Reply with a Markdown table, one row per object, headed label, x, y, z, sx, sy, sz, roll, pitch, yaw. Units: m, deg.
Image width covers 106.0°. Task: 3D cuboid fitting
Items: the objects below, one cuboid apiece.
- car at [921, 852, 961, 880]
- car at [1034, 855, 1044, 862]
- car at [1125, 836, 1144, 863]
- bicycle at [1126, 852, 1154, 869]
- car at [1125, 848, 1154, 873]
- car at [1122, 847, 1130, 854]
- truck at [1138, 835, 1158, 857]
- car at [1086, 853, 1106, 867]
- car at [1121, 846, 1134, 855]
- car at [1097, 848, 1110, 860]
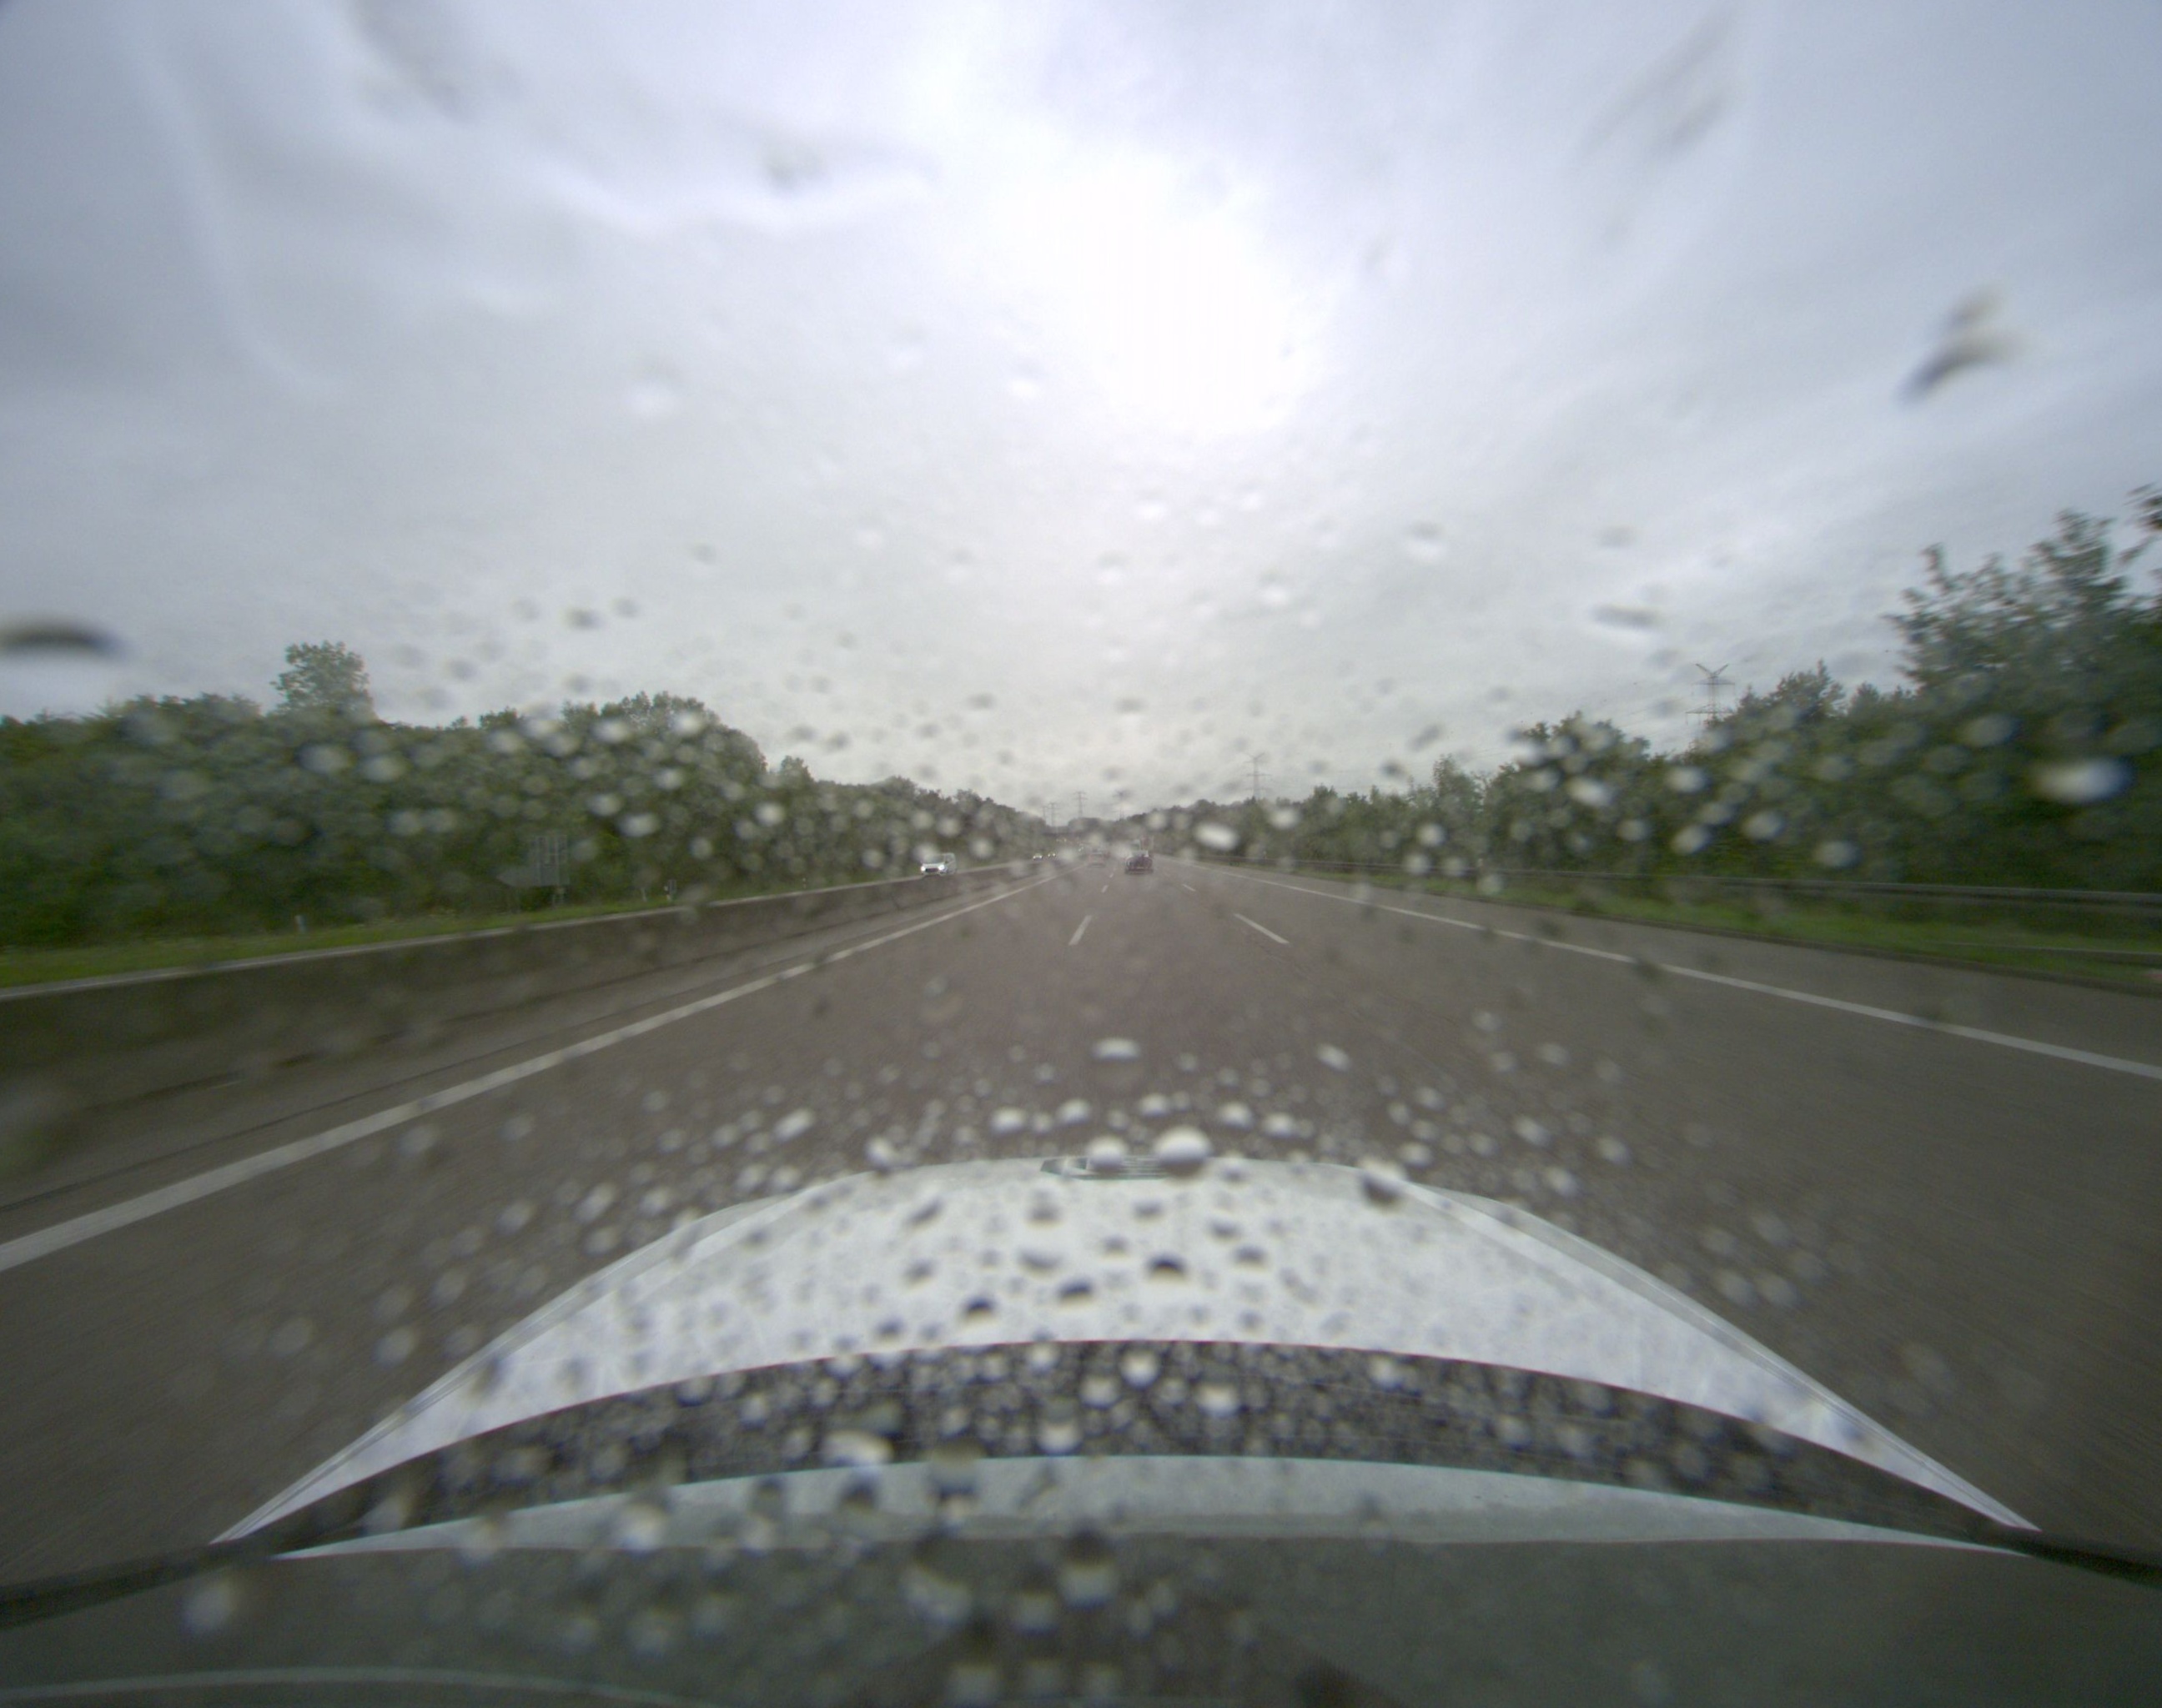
| label | x | y | z | sx | sy | sz | roll | pitch | yaw |
| --- | --- | --- | --- | --- | --- | --- | --- | --- | --- |
| car | -10.989 | 0.944 | 64.276 | 1.986 | 2.013 | 5.763 | -3 | 0 | 1 |
| car | -9.256 | 0.981 | 180.786 | 1.791 | 1.450 | 4.631 | -3 | 0 | 2 |
| car | 6.134 | -0.493 | 93.821 | 1.985 | 2.864 | 4.003 | -3 | 0 | 3 |
| bicycle | 3.871 | 0.409 | 53.513 | 1.747 | 1.090 | 0.914 | -1 | -1 | 1 |
| car | 4.008 | 0.418 | 56.459 | 1.853 | 1.568 | 4.967 | -1 | 1 | 2 |
| car | 11.695 | -0.965 | 212.532 | 1.986 | 1.574 | 4.001 | -3 | 0 | 1 |
| truck | 13.710 | -1.640 | 167.466 | 3.588 | 4.332 | 13.212 | -2 | 0 | 3 |
| car | 1.468 | 0.558 | 79.377 | 1.860 | 1.288 | 4.001 | -3 | 0 | 2 |
| car | 7.187 | -0.548 | 126.275 | 1.849 | 1.422 | 4.003 | -1 | 1 | 2 |
| car | 3.172 | 0.004 | 116.773 | 1.839 | 1.772 | 4.001 | 0 | -1 | 2 |
